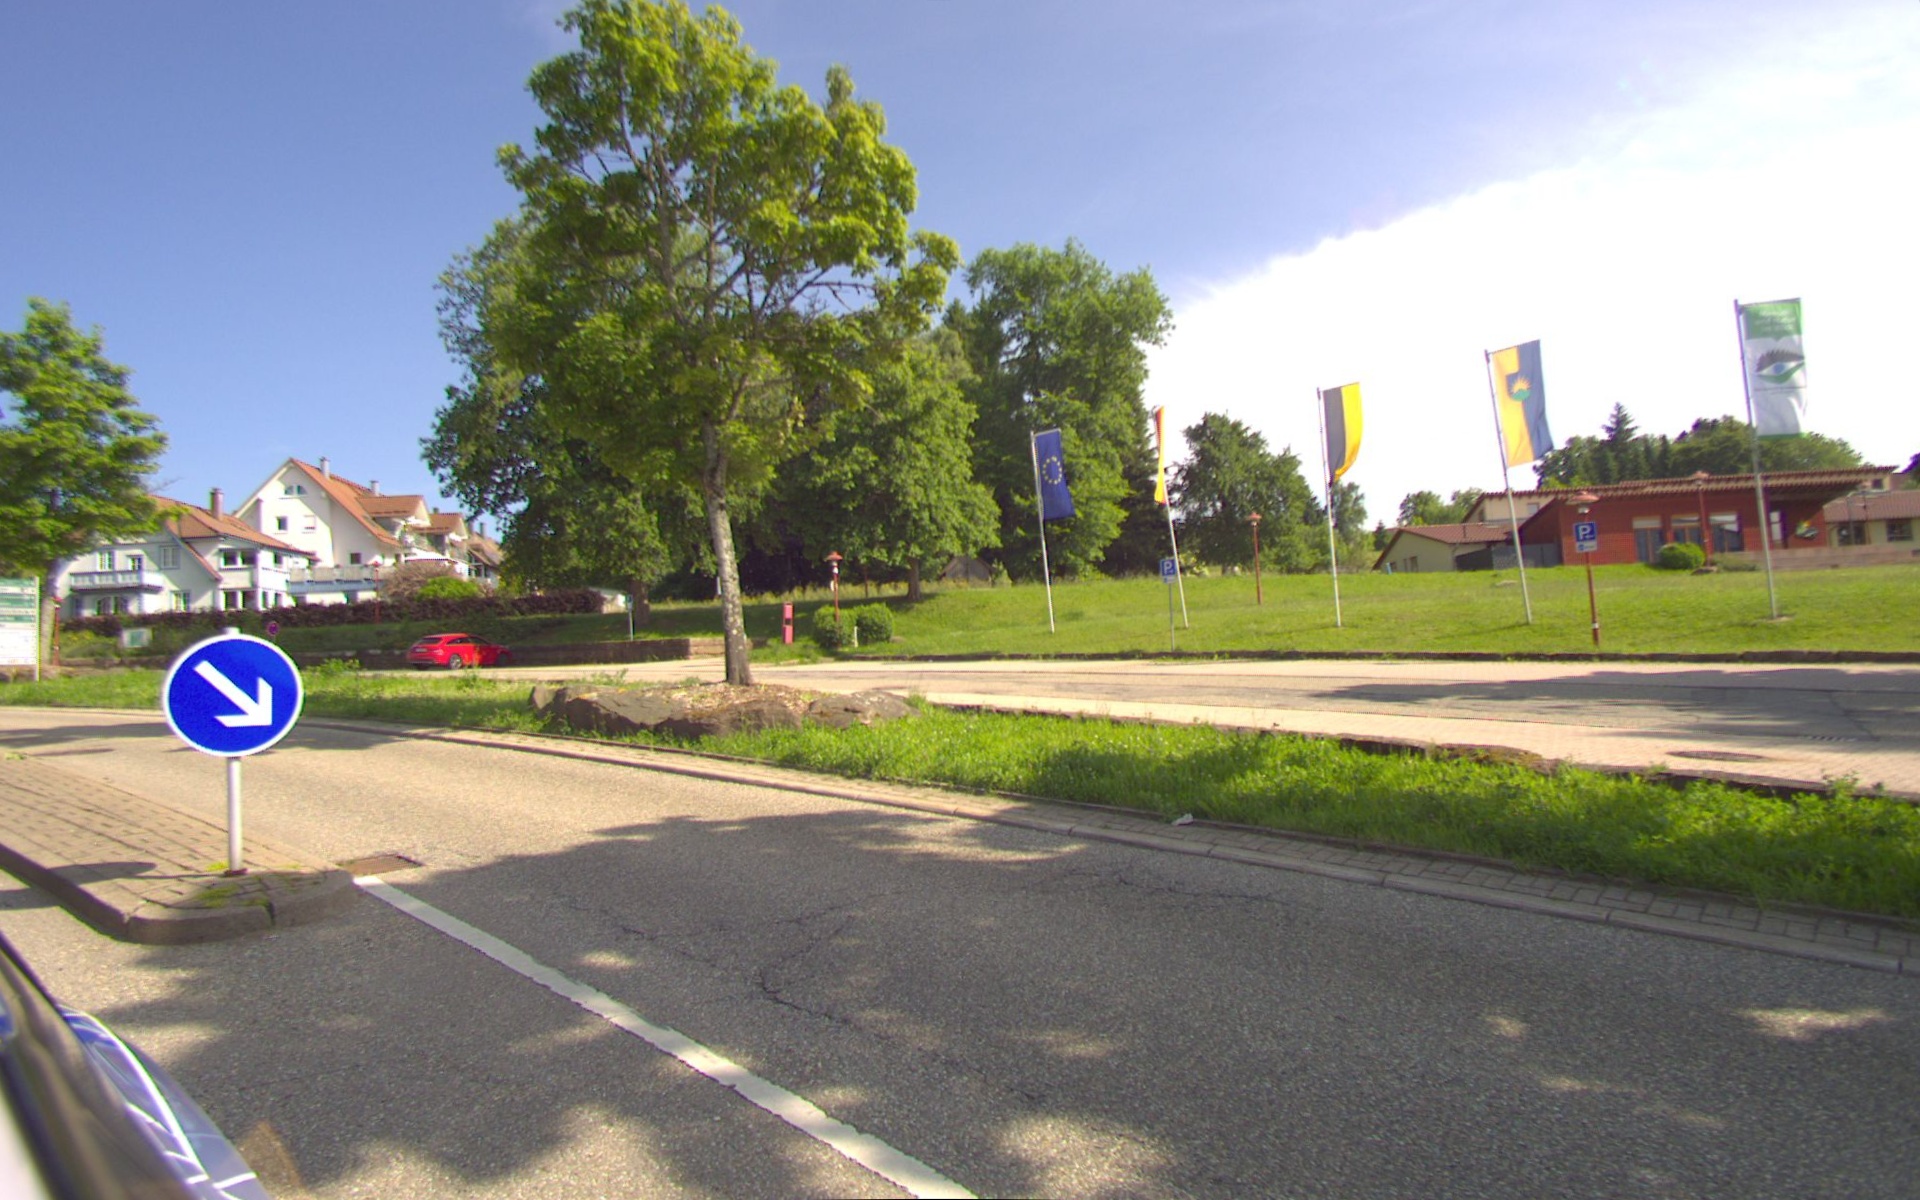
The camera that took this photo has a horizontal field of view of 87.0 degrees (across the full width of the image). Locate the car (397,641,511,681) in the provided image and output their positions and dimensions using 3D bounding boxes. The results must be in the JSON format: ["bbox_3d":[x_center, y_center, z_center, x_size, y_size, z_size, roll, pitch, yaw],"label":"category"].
[{"bbox_3d":[-20.536,2.436,41.254,1.807,1.409,4.216,-3,-2,16],"label":"car"}]
